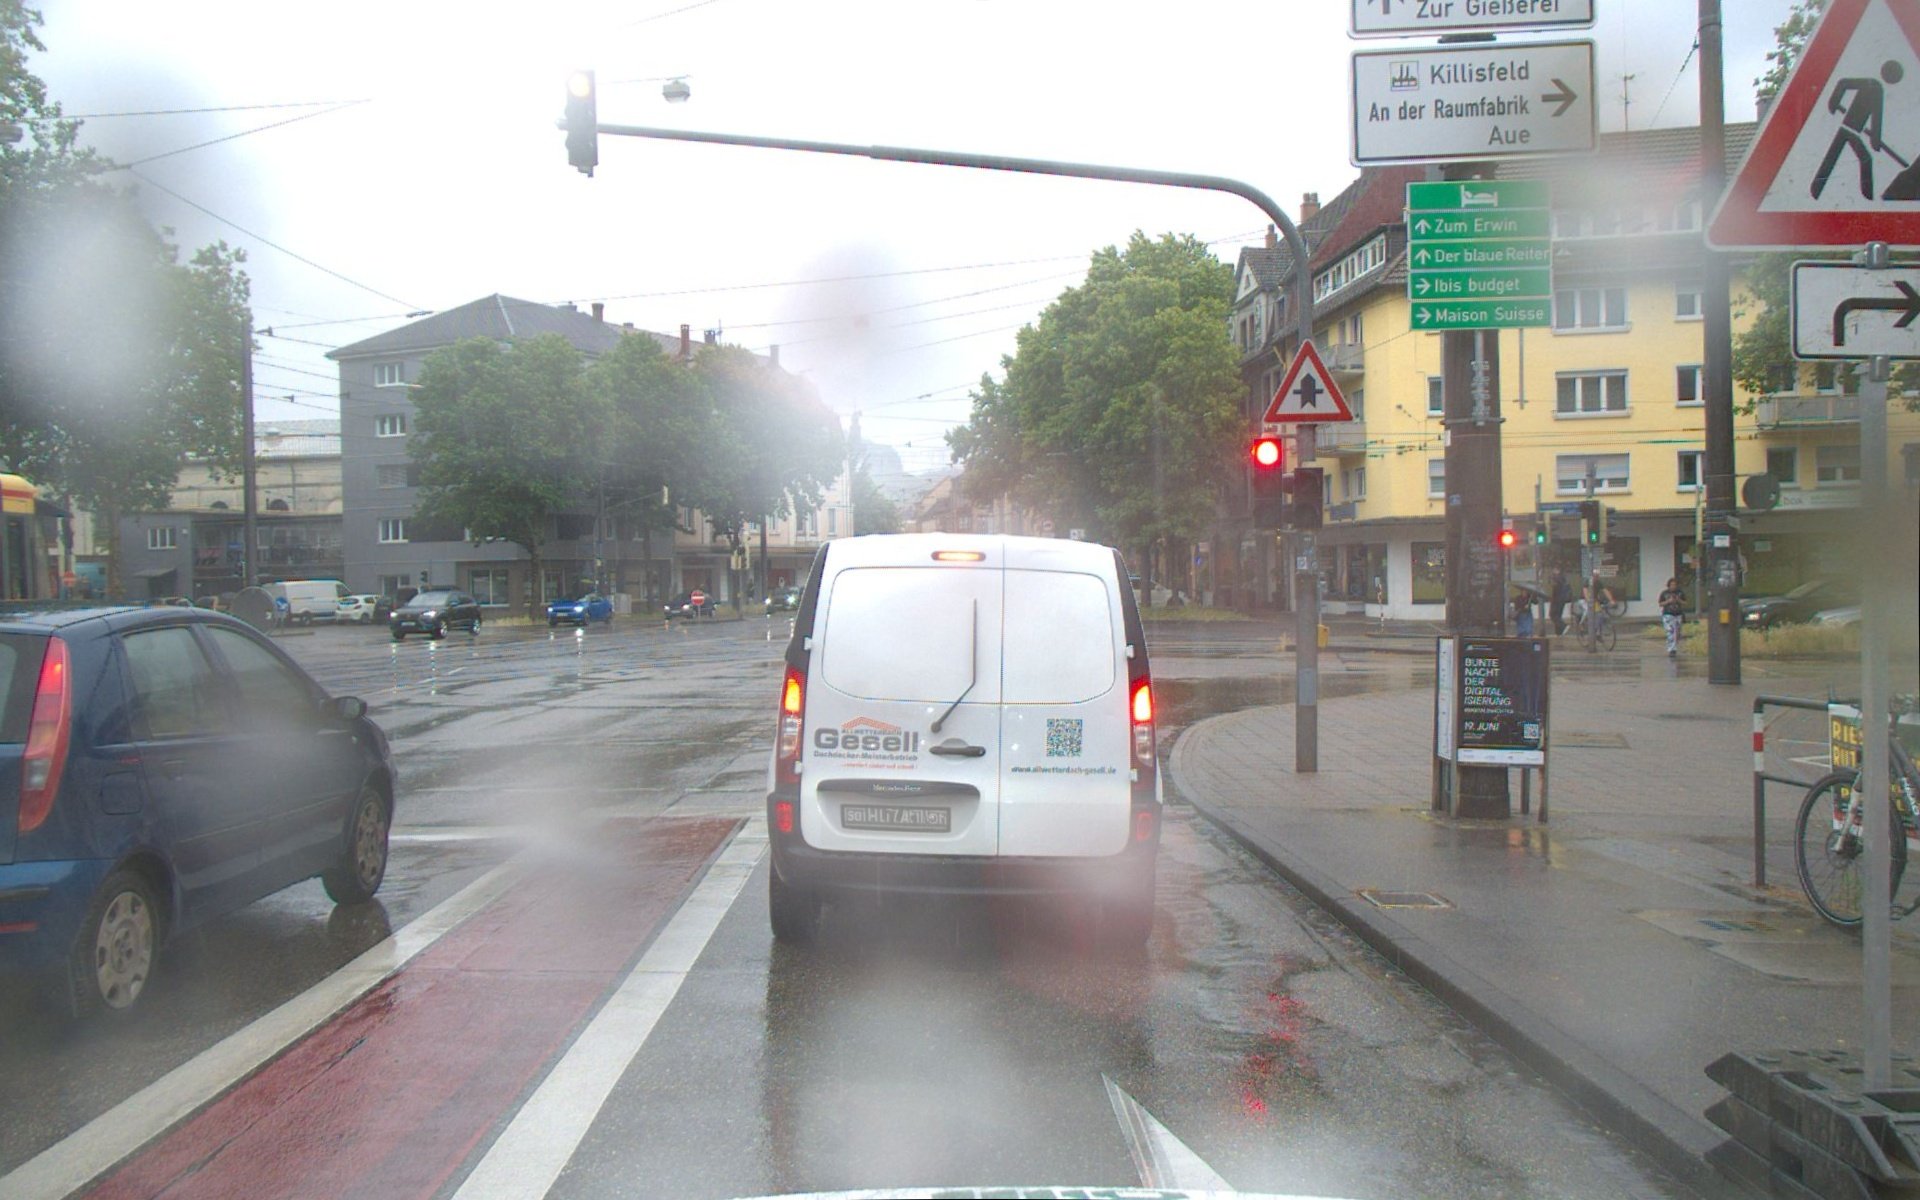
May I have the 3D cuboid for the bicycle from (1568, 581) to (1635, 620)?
[{"bbox_3d":[21.550,0.010,55.594,2.056,1.283,0.532,0,1,14],"label":"bicycle"}]

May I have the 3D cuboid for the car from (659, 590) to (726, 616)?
[{"bbox_3d":[-13.781,0.143,85.538,1.909,1.260,4.003,0,2,16],"label":"car"}]

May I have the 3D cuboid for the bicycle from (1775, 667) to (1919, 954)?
[{"bbox_3d":[4.251,0.912,7.084,0.503,1.126,2.017,3,0,1],"label":"bicycle"}]

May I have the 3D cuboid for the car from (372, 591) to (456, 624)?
[{"bbox_3d":[-28.487,0.375,86.354,1.954,1.556,3.997,0,2,26],"label":"car"}]

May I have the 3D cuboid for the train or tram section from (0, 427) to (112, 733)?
[{"bbox_3d":[-13.004,-0.261,13.223,3.466,3.472,15.512,1,0,4],"label":"train or tram section"}]

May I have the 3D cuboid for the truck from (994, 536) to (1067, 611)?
[{"bbox_3d":[5.353,-1.855,121.955,3.395,5.176,15.320,0,0,10],"label":"truck"}]

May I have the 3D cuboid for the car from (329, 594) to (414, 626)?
[{"bbox_3d":[-30.981,0.505,87.164,1.915,1.522,3.997,0,2,26],"label":"car"}]

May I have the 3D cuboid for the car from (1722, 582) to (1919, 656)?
[{"bbox_3d":[20.858,0.466,39.076,4.832,1.672,2.001,0,-2,11],"label":"car"}]

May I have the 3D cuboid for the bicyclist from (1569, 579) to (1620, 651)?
[{"bbox_3d":[14.378,0.336,37.503,0.860,1.611,0.860,0,0,3],"label":"bicyclist"}]

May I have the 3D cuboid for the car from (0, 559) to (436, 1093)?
[{"bbox_3d":[-3.610,0.673,6.869,1.692,1.606,3.820,0,0,-1],"label":"car"}]

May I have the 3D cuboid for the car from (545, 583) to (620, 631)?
[{"bbox_3d":[-16.448,0.297,72.240,1.951,2.049,4.003,0,0,7],"label":"car"}]

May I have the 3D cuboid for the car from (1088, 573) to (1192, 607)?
[{"bbox_3d":[7.485,-0.416,69.090,4.088,1.362,1.518,0,1,-8],"label":"car"}]

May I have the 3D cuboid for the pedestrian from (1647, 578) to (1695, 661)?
[{"bbox_3d":[14.843,0.399,34.515,0.886,1.698,1.019,0,0,24],"label":"pedestrian"}]

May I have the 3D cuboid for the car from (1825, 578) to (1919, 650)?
[{"bbox_3d":[21.117,0.291,35.900,3.854,1.516,1.808,0,1,15],"label":"car"}]

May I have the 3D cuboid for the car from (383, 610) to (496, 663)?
[{"bbox_3d":[-18.279,1.245,58.240,1.909,1.635,4.003,0,2,16],"label":"car"}]

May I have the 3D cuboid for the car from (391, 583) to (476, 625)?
[{"bbox_3d":[-26.802,0.191,84.295,1.954,2.049,3.996,0,0,26],"label":"car"}]

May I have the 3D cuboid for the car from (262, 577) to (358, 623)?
[{"bbox_3d":[-34.133,-0.034,86.962,1.953,2.236,4.787,1,2,22],"label":"car"}]

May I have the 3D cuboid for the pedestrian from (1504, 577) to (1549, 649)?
[{"bbox_3d":[12.563,0.281,36.655,0.809,1.561,0.614,1,0,-39],"label":"pedestrian"}]

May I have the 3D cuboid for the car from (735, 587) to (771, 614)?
[{"bbox_3d":[-12.620,0.031,101.161,1.747,1.579,3.999,0,0,-1],"label":"car"}]

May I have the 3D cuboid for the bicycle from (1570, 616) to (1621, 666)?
[{"bbox_3d":[14.381,0.919,37.475,0.449,1.045,1.902,0,1,1],"label":"bicycle"}]

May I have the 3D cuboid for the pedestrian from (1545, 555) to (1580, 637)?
[{"bbox_3d":[15.420,-0.105,42.302,0.779,2.049,0.860,0,0,24],"label":"pedestrian"}]

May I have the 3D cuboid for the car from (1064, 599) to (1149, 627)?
[{"bbox_3d":[6.265,0.549,70.809,3.378,1.150,1.469,0,0,-9],"label":"car"}]

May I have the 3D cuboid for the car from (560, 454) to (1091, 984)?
[{"bbox_3d":[-0.556,0.467,8.917,2.058,2.047,4.962,0,0,-1],"label":"car"}]
